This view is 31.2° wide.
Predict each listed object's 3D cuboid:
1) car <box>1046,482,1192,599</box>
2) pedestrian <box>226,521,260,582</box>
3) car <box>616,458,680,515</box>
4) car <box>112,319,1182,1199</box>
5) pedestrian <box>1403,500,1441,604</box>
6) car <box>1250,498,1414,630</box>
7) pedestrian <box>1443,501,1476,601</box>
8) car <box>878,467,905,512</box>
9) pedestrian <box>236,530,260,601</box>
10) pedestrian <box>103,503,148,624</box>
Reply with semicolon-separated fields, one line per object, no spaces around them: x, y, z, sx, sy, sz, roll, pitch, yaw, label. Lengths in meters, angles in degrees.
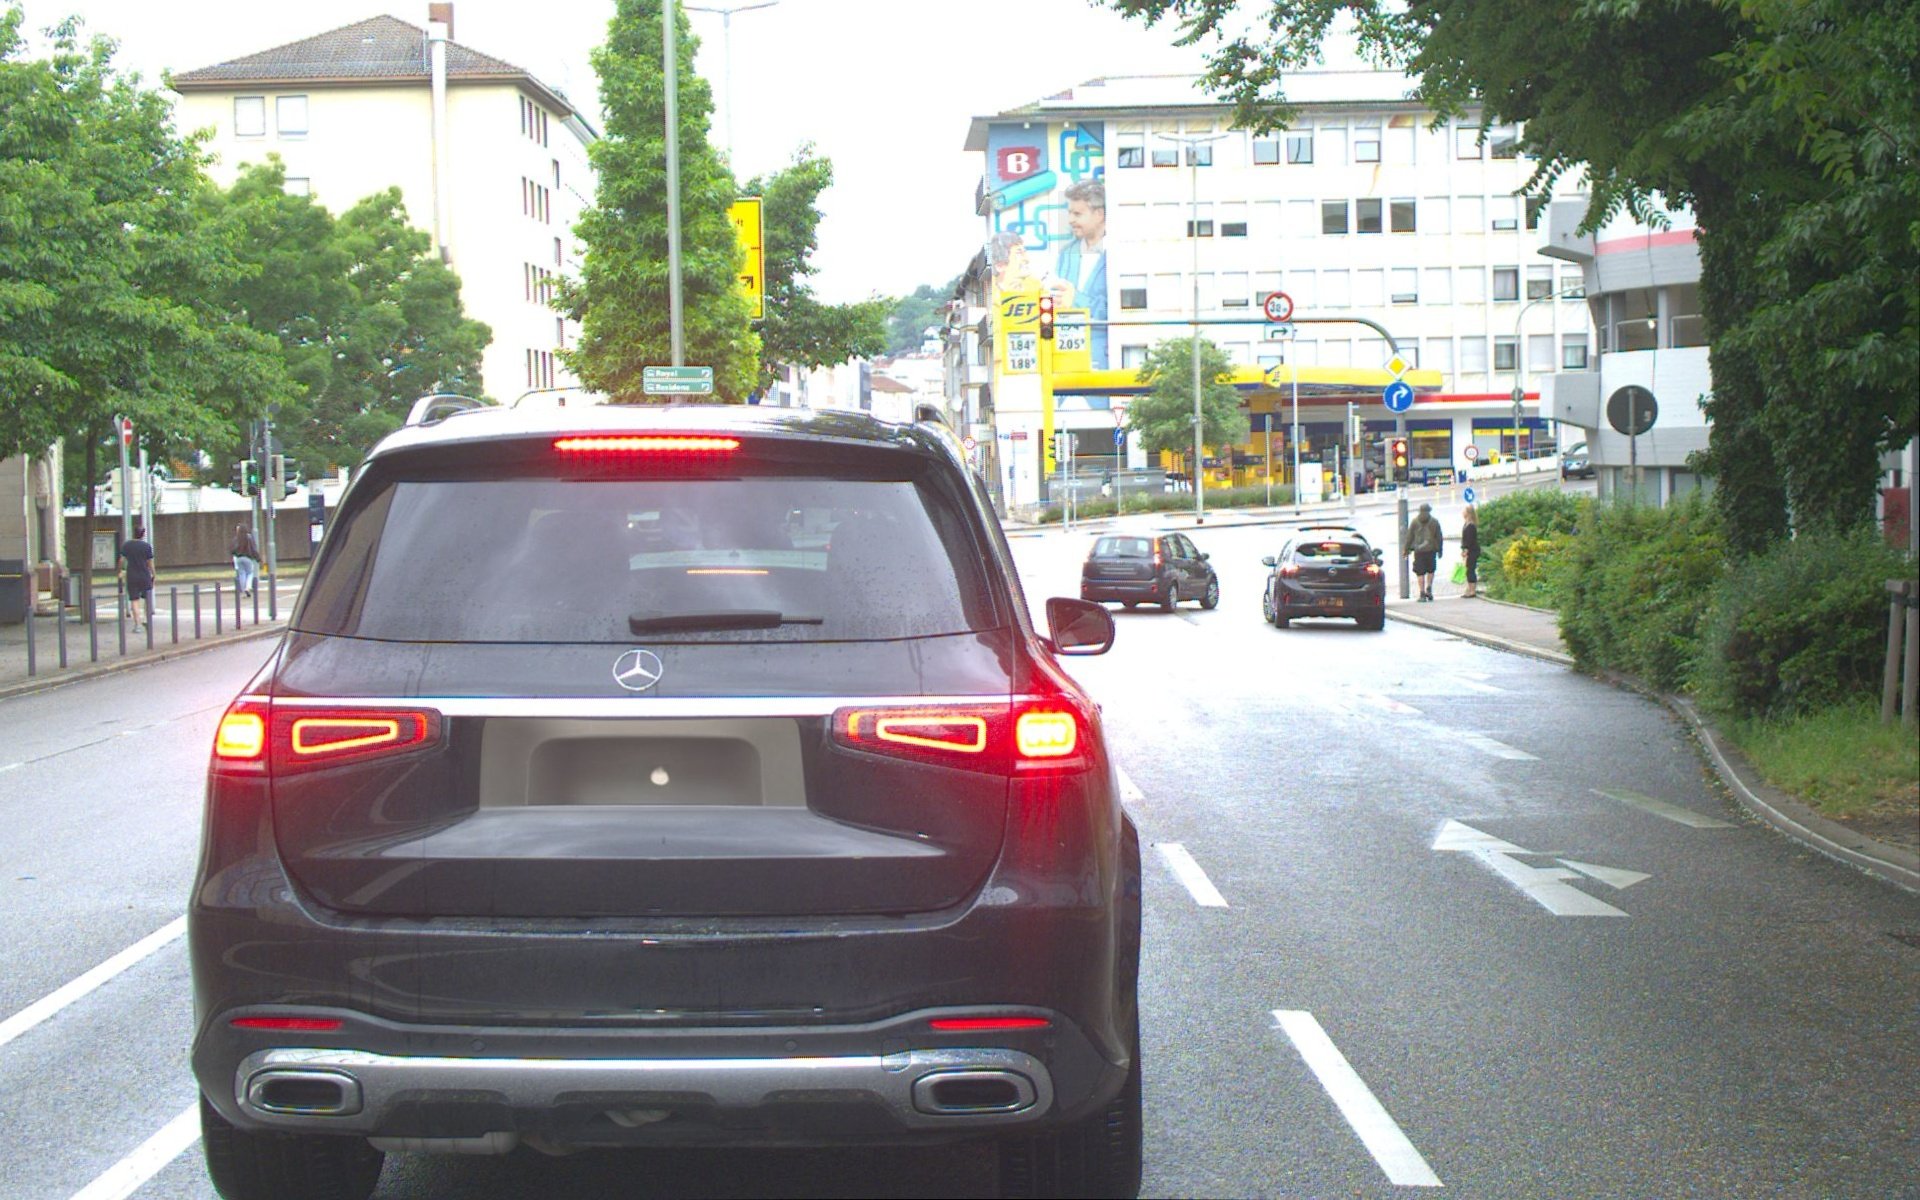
2.806;-1.046;61.595;1.993;2.007;4.001;1;0;-6;car
-17.396;-1.169;83.426;0.711;1.457;0.598;1;0;-2;pedestrian
-11.017;-3.991;121.592;1.993;1.868;5.142;1;0;-2;car
-0.659;0.474;8.503;1.993;2.007;4.000;1;0;-2;car
8.715;-0.904;64.848;0.620;1.929;0.610;1;0;2;pedestrian
5.862;-0.602;54.589;1.993;2.007;4.001;0;1;-2;car
9.504;-0.930;65.448;0.519;1.904;0.556;1;0;-1;pedestrian
-5.146;-8.312;258.011;1.993;2.003;4.008;1;24;-2;car
-16.514;-0.798;79.746;0.399;1.639;0.567;1;0;-1;pedestrian
-13.992;-0.616;57.647;0.587;2.007;0.749;1;1;-2;pedestrian
